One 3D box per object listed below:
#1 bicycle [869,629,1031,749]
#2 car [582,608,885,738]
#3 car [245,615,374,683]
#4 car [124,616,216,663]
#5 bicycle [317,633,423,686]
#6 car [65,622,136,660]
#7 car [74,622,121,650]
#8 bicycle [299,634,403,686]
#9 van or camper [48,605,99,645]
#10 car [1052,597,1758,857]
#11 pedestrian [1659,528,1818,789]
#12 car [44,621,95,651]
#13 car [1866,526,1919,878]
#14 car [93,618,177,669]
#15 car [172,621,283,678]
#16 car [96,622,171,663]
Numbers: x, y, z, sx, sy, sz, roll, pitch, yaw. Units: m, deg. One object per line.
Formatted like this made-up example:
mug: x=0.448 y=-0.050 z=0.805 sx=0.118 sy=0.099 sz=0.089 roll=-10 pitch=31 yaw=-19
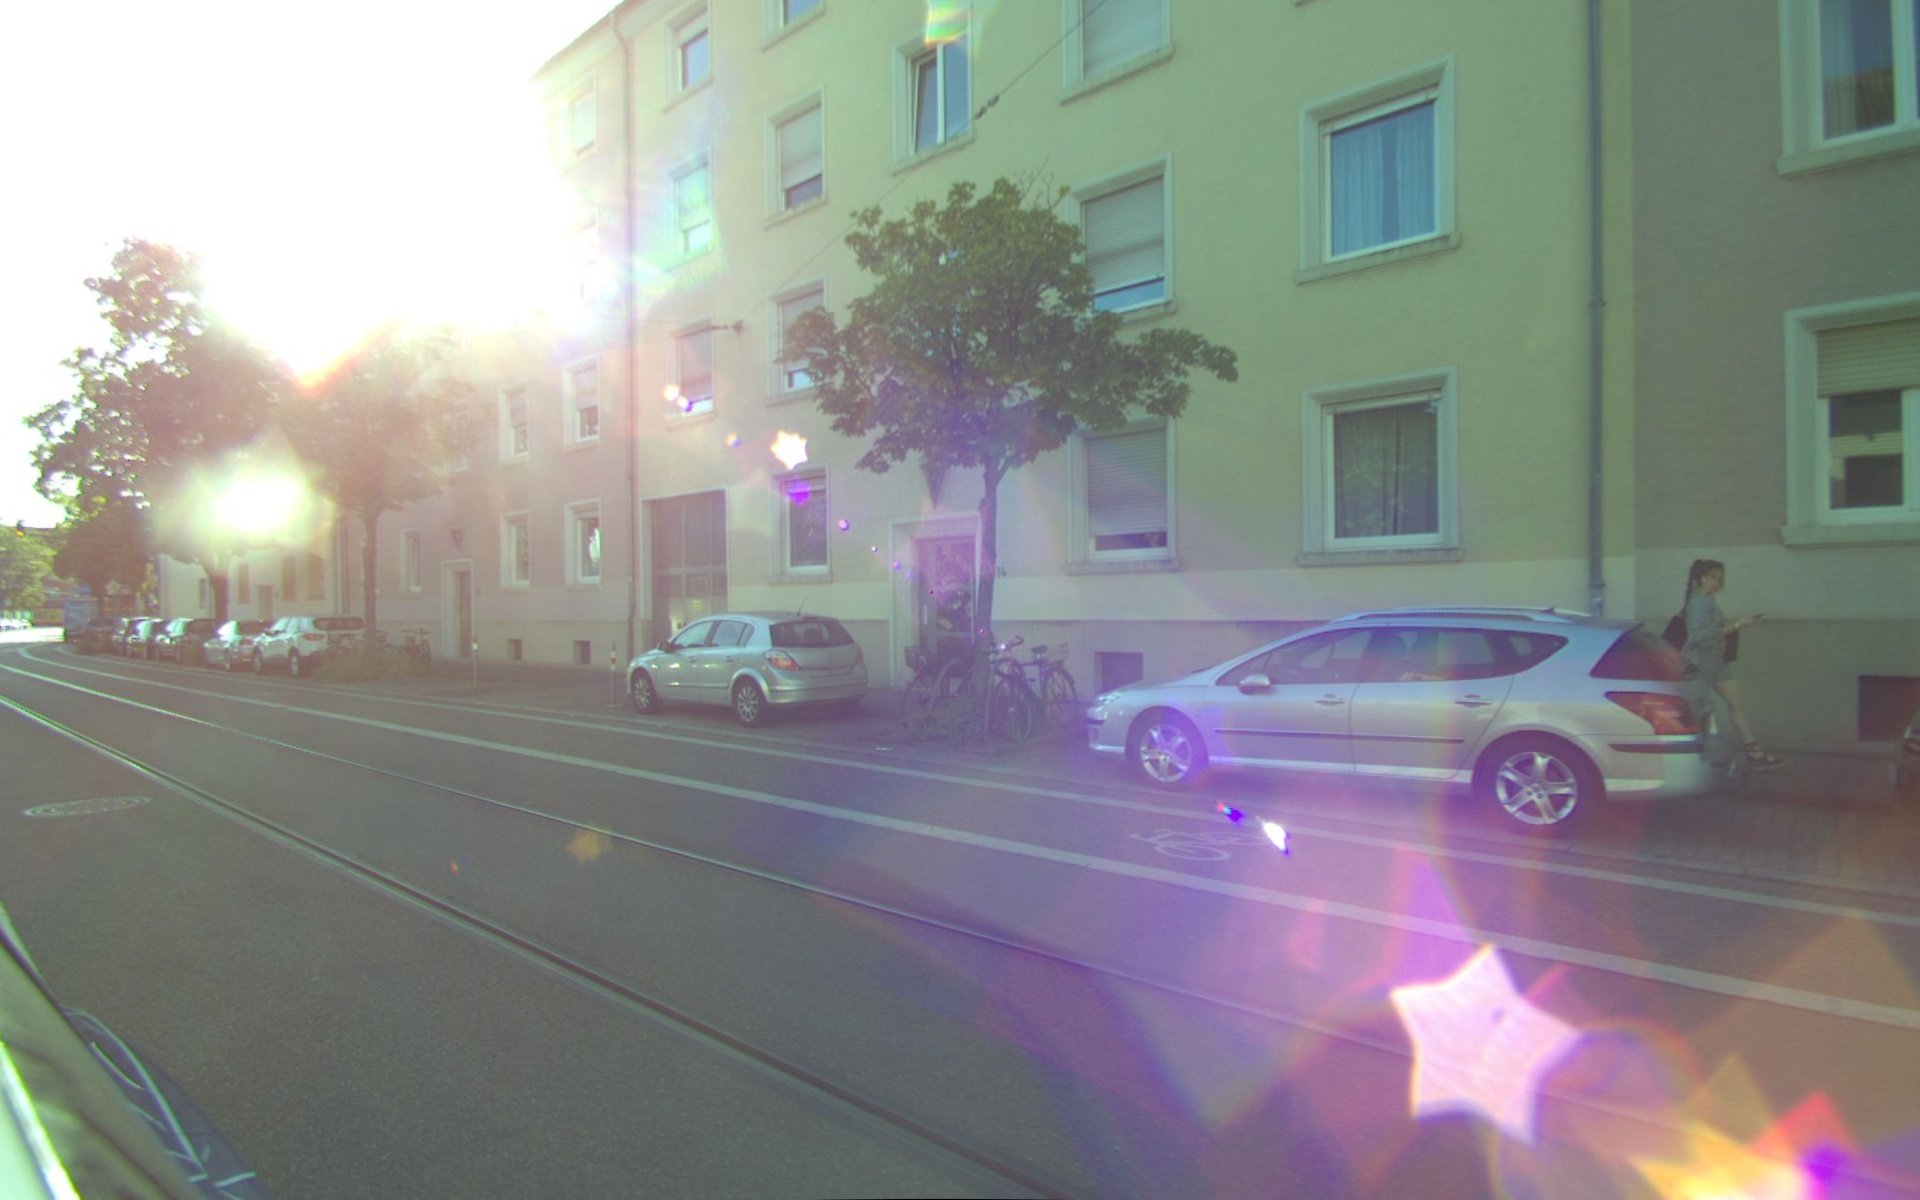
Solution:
bicycle: x=-0.060 y=0.948 z=11.540 sx=0.659 sy=1.151 sz=2.123 roll=-1 pitch=0 yaw=38
car: x=-3.331 y=0.892 z=14.250 sx=4.751 sy=1.484 sz=1.746 roll=-1 pitch=1 yaw=43
car: x=-17.135 y=1.245 z=26.603 sx=4.043 sy=1.635 sz=1.667 roll=-1 pitch=-1 yaw=39
car: x=-27.808 y=1.362 z=35.570 sx=4.043 sy=1.563 sz=1.667 roll=-1 pitch=-1 yaw=39
bicycle: x=-13.976 y=1.394 z=24.034 sx=0.530 sy=1.151 sz=2.123 roll=-1 pitch=-1 yaw=38
car: x=-37.831 y=1.765 z=44.508 sx=3.946 sy=1.563 sz=1.667 roll=-1 pitch=-1 yaw=39
car: x=-50.970 y=2.119 z=59.808 sx=3.409 sy=1.556 sz=1.645 roll=-1 pitch=-1 yaw=41
bicycle: x=-14.778 y=1.427 z=24.595 sx=0.535 sy=1.151 sz=2.123 roll=-1 pitch=-1 yaw=38
van or camper: x=-57.378 y=1.610 z=65.459 sx=5.500 sy=2.432 sz=2.046 roll=-1 pitch=-1 yaw=44
car: x=3.233 y=0.774 z=8.067 sx=4.855 sy=1.484 sz=1.747 roll=-1 pitch=-1 yaw=40
pedestrian: x=6.038 y=0.429 z=7.851 sx=0.910 sy=1.877 sz=0.685 roll=-1 pitch=-1 yaw=41
car: x=-48.139 y=1.932 z=54.682 sx=3.409 sy=1.556 sz=1.645 roll=-1 pitch=-1 yaw=41
car: x=7.233 y=0.462 z=4.668 sx=4.419 sy=1.859 sz=1.748 roll=-1 pitch=1 yaw=39
car: x=-31.251 y=1.601 z=38.299 sx=4.043 sy=1.800 sz=1.667 roll=-1 pitch=-1 yaw=39
car: x=-21.664 y=1.420 z=29.882 sx=4.043 sy=1.563 sz=1.667 roll=-1 pitch=-1 yaw=39
car: x=-34.105 y=1.722 z=41.752 sx=3.711 sy=1.563 sz=1.667 roll=-1 pitch=-1 yaw=39
